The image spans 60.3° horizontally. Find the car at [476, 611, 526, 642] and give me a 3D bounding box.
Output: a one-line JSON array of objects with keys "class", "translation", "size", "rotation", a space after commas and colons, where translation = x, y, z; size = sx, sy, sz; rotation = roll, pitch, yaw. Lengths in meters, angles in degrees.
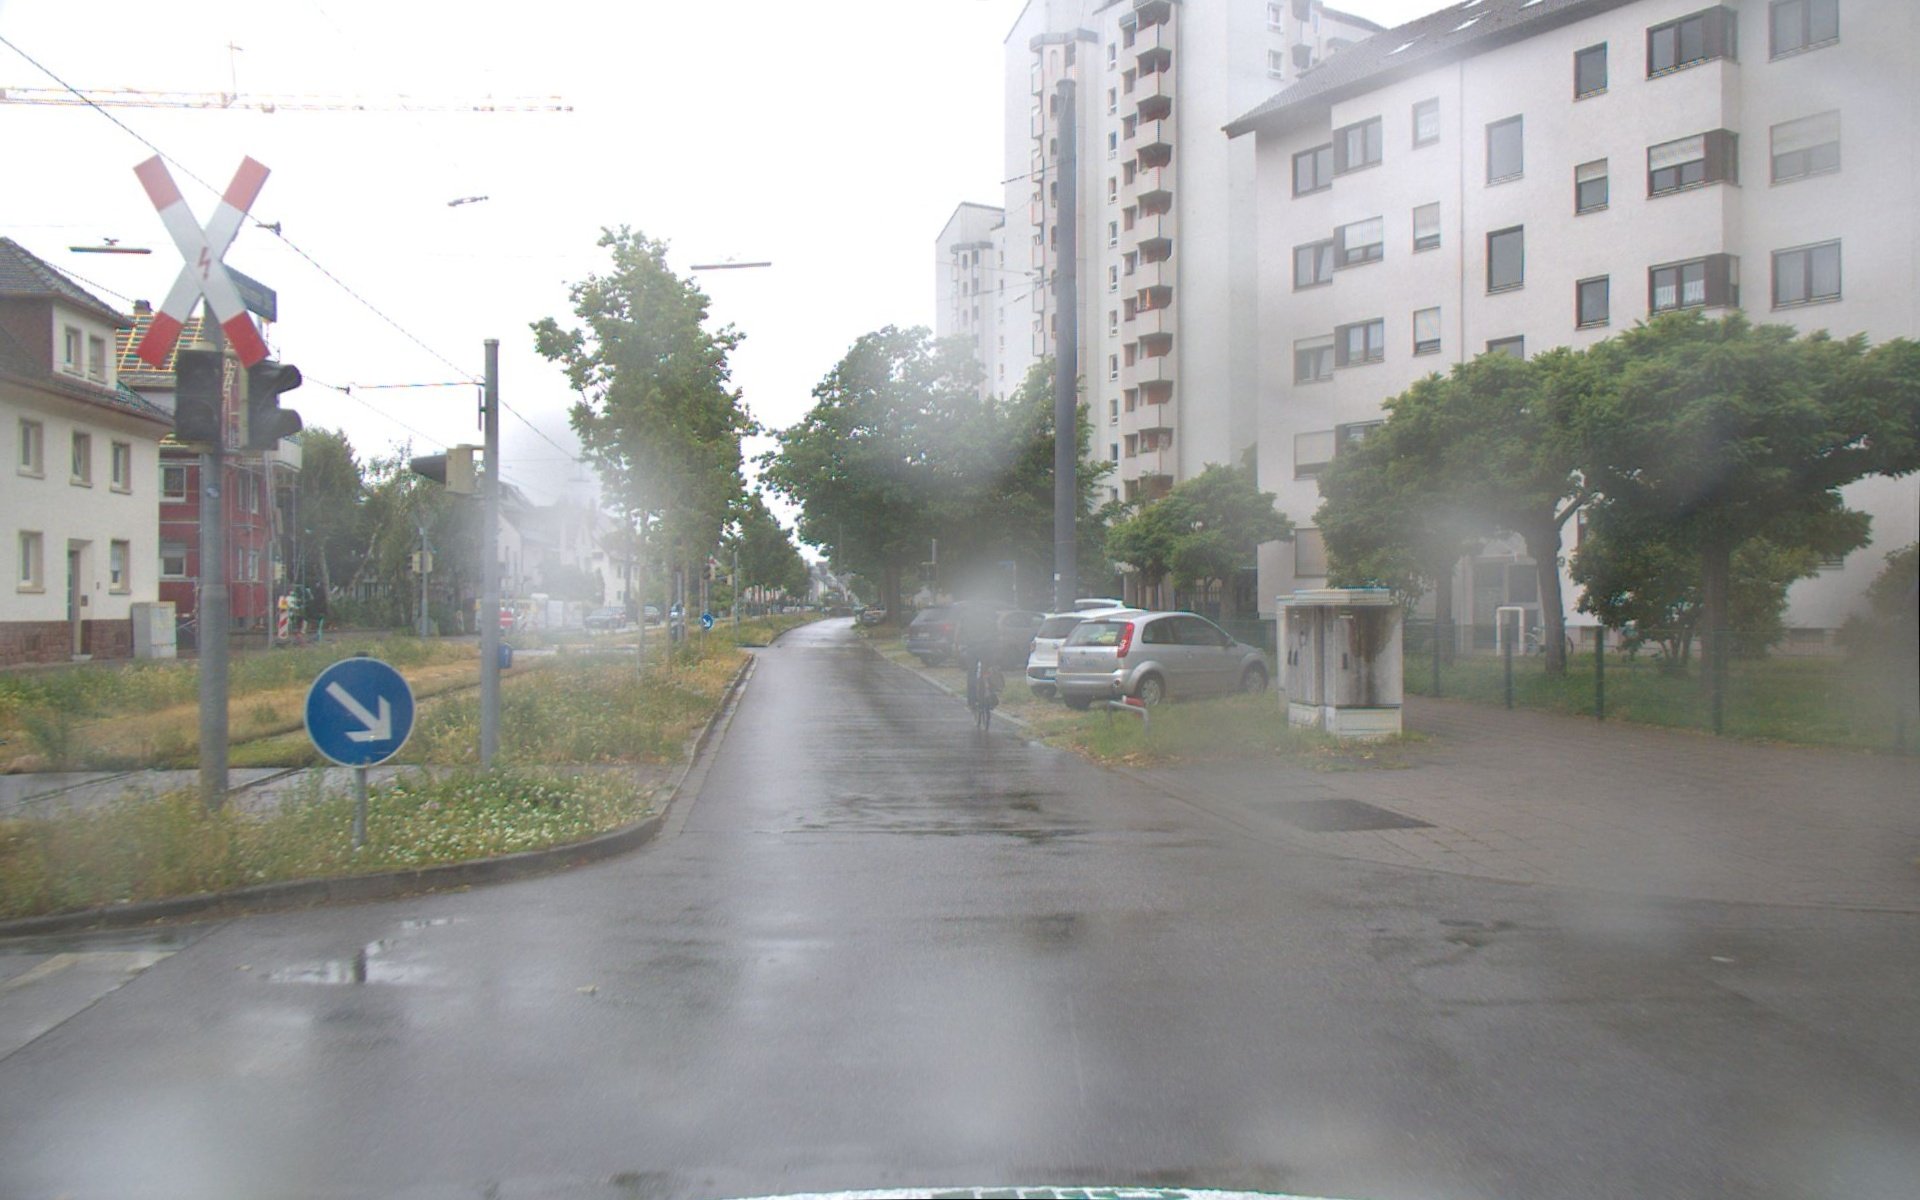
[{"class": "car", "translation": [-25.186, 1.426, 90.906], "size": [1.676, 1.569, 4.419], "rotation": [2, 0, -3]}]

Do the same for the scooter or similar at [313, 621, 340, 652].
[{"class": "scooter or similar", "translation": [-24.898, 1.422, 65.060], "size": [0.385, 1.201, 1.284], "rotation": [-1, -1, 10]}]

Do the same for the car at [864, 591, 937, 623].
[{"class": "car", "translation": [-3.647, 0.439, 101.899], "size": [4.104, 1.749, 1.974], "rotation": [-4, 1, -37]}]

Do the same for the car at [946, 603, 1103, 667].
[{"class": "car", "translation": [1.632, 0.830, 40.761], "size": [1.705, 1.454, 3.974], "rotation": [-1, 0, 43]}]

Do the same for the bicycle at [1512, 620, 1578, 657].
[{"class": "bicycle", "translation": [14.177, 0.921, 40.123], "size": [0.484, 0.862, 1.555], "rotation": [-1, 0, -31]}]

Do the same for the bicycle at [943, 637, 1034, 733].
[{"class": "bicycle", "translation": [0.342, 1.071, 21.558], "size": [0.794, 1.116, 2.512], "rotation": [-1, 0, -8]}]

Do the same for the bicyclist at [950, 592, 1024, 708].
[{"class": "bicyclist", "translation": [0.341, 0.637, 21.494], "size": [0.794, 1.458, 1.058], "rotation": [-1, 0, -8]}]

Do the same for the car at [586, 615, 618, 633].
[{"class": "car", "translation": [-26.041, 1.741, 120.449], "size": [1.630, 1.266, 4.068], "rotation": [2, 0, -4]}]

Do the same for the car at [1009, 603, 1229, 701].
[{"class": "car", "translation": [2.844, 0.887, 29.024], "size": [1.677, 1.534, 3.971], "rotation": [-4, -2, 45]}]

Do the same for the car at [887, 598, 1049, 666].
[{"class": "car", "translation": [0.258, 0.815, 43.754], "size": [1.826, 1.680, 4.322], "rotation": [-1, 0, 43]}]

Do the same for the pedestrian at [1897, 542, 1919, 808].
[{"class": "pedestrian", "translation": [7.157, 0.514, 11.006], "size": [1.076, 1.845, 1.434], "rotation": [0, 0, 4]}]

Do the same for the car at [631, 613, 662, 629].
[{"class": "car", "translation": [-27.694, 1.855, 146.286], "size": [1.858, 1.266, 4.686], "rotation": [2, 0, -1]}]

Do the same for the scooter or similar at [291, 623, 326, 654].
[{"class": "scooter or similar", "translation": [-24.410, 1.446, 61.995], "size": [0.431, 1.149, 1.282], "rotation": [-1, -1, 24]}]

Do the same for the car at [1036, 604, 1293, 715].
[{"class": "car", "translation": [3.226, 0.896, 25.661], "size": [3.966, 1.534, 1.757], "rotation": [-1, -2, -42]}]

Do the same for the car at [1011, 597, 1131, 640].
[{"class": "car", "translation": [4.713, 0.762, 70.365], "size": [4.732, 1.776, 1.988], "rotation": [0, -1, -20]}]
